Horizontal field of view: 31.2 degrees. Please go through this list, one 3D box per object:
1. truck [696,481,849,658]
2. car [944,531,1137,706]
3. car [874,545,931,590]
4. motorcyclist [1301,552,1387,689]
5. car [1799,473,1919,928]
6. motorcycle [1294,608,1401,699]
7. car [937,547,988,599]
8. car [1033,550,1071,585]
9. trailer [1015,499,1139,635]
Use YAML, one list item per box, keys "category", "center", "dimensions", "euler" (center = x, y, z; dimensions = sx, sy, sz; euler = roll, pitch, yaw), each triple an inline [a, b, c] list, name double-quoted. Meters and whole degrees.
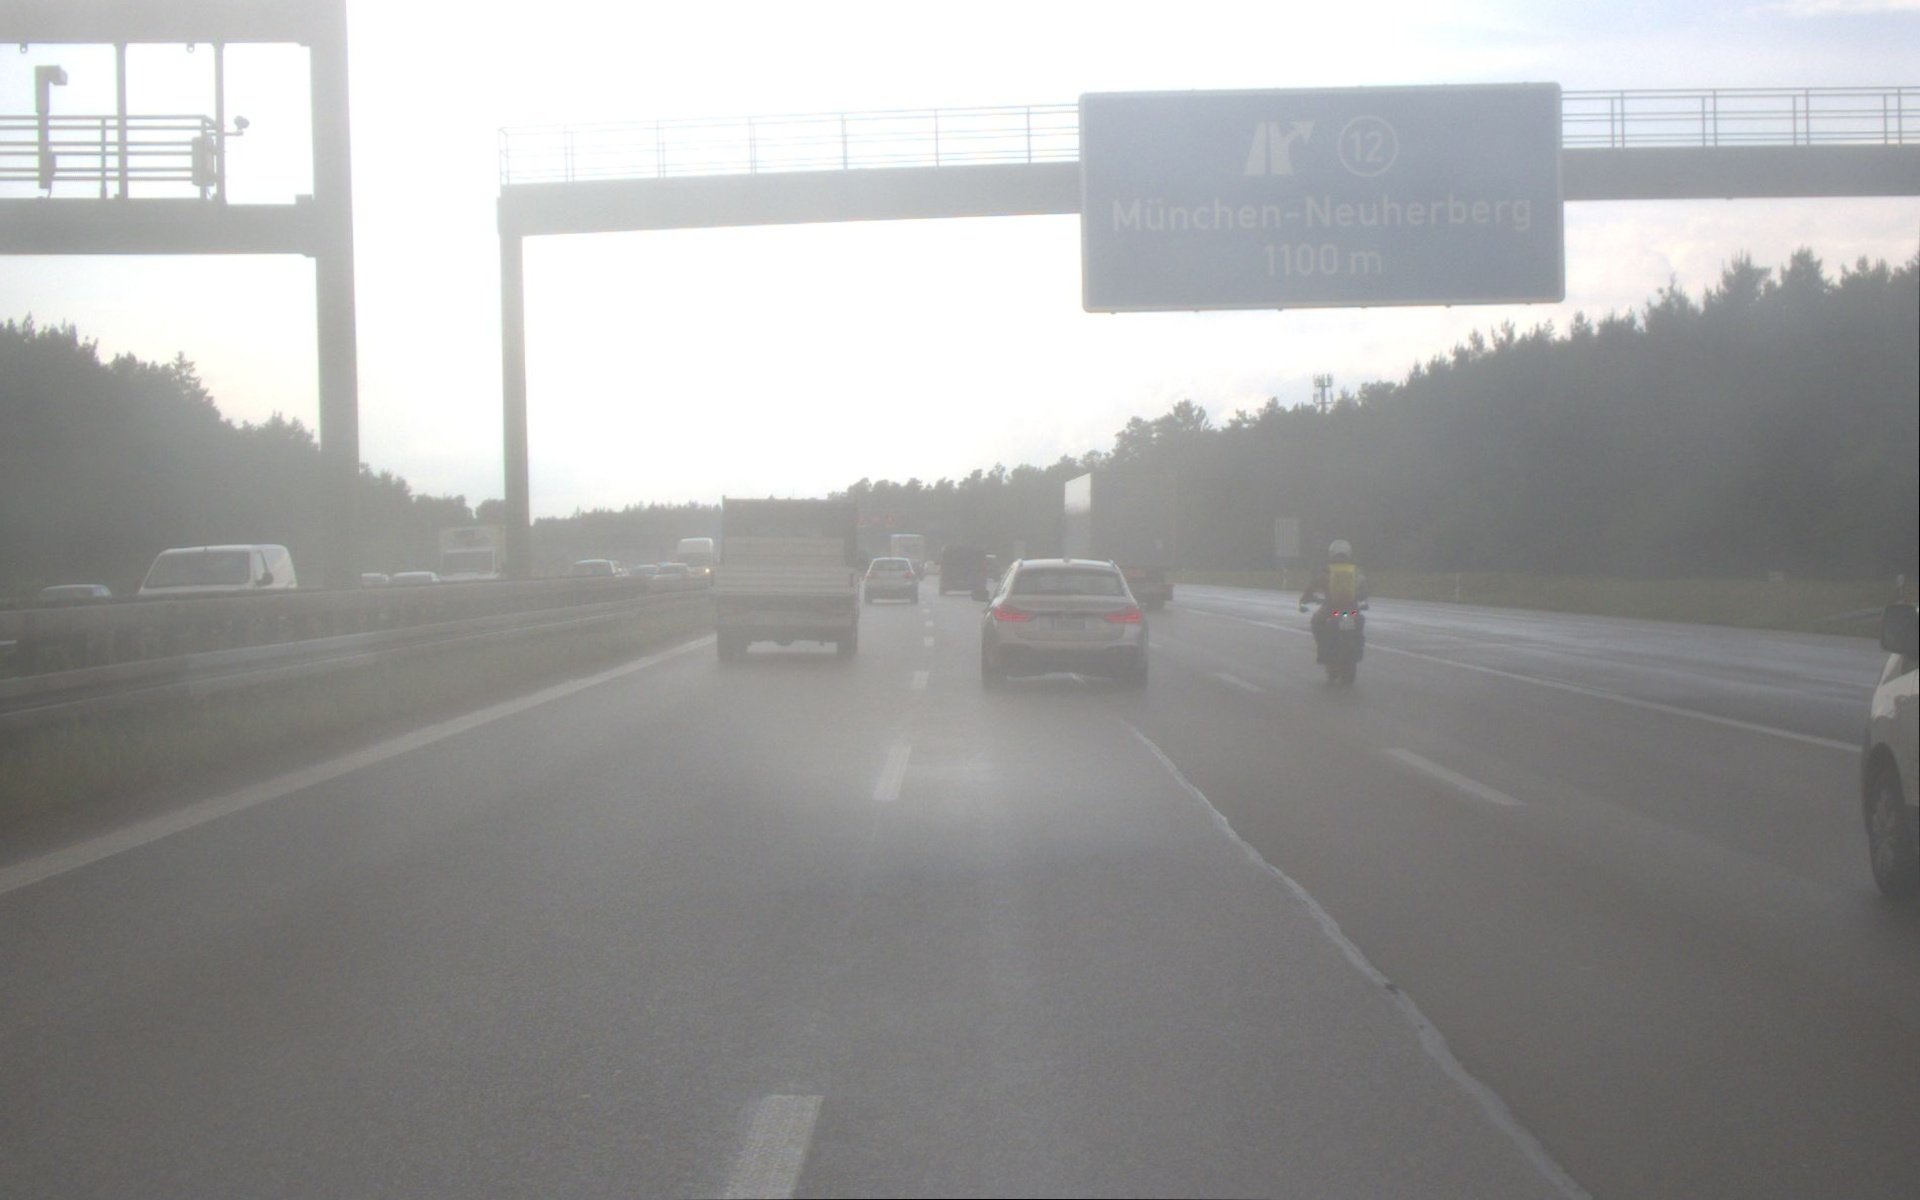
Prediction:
- category: "truck"
  center: [-2.754, -0.456, 51.054]
  dimensions: [2.137, 2.480, 5.313]
  euler: [0, 1, -2]
- category: "car"
  center: [0.971, 0.166, 40.094]
  dimensions: [2.078, 1.878, 5.011]
  euler: [1, 1, 2]
- category: "car"
  center: [-1.886, -1.066, 113.033]
  dimensions: [1.831, 1.461, 4.000]
  euler: [1, 1, -1]
- category: "motorcyclist"
  center: [4.574, 0.237, 40.983]
  dimensions: [0.891, 1.609, 0.959]
  euler: [0, 0, -1]
- category: "car"
  center: [4.979, 0.426, 13.852]
  dimensions: [1.963, 1.895, 4.882]
  euler: [0, 1, 0]
- category: "motorcycle"
  center: [4.594, 0.620, 40.879]
  dimensions: [1.000, 1.028, 2.174]
  euler: [0, 1, -1]
- category: "car"
  center: [0.094, -1.079, 136.897]
  dimensions: [1.908, 2.007, 4.000]
  euler: [0, 1, -2]
- category: "car"
  center: [5.424, -1.894, 203.164]
  dimensions: [1.993, 2.007, 4.000]
  euler: [1, 0, -2]
- category: "trailer"
  center: [3.545, -1.027, 107.668]
  dimensions: [2.323, 3.988, 13.414]
  euler: [0, 0, -5]
